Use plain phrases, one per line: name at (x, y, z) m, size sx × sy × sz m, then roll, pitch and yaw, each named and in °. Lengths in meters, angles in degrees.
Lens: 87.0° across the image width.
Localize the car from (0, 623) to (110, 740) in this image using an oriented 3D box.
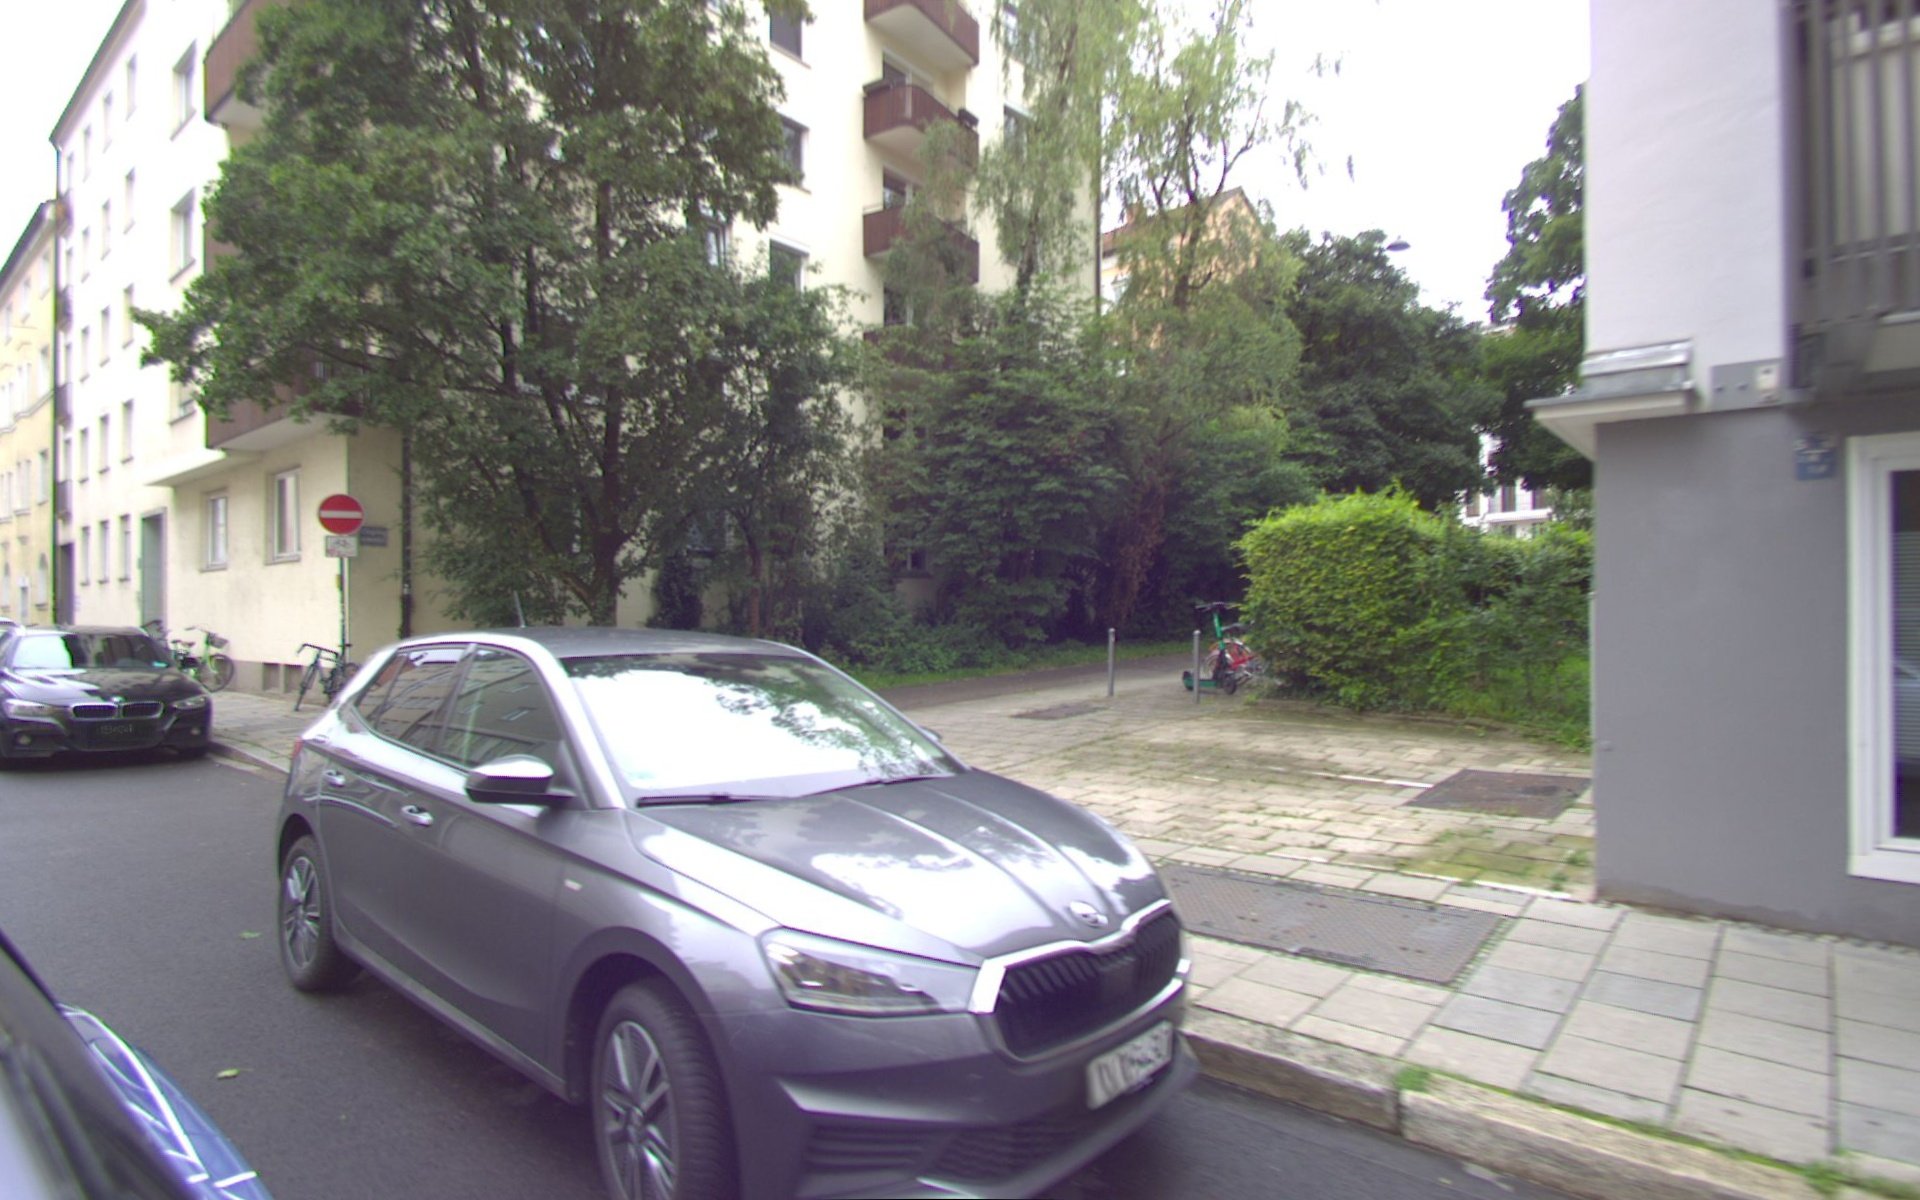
car at (-13.950, 1.090, 14.762) m, size 4.422 × 1.494 × 1.747 m, roll -1°, pitch -2°, yaw 42°

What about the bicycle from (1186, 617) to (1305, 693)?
bicycle at (4.073, 0.777, 14.510) m, size 1.606 × 1.047 × 0.419 m, roll -2°, pitch -2°, yaw 40°

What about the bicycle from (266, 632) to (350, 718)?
bicycle at (-9.578, 1.066, 14.836) m, size 1.788 × 1.170 × 0.529 m, roll -1°, pitch -3°, yaw 41°

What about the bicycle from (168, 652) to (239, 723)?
bicycle at (-13.673, 1.550, 18.283) m, size 1.788 × 1.170 × 0.638 m, roll -1°, pitch -3°, yaw 41°

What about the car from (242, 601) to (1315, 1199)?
car at (-0.995, 0.787, 3.611) m, size 3.940 × 1.453 × 1.675 m, roll -1°, pitch -2°, yaw 41°

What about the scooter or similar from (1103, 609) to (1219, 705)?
scooter or similar at (2.647, 0.747, 13.446) m, size 1.570 × 1.212 × 0.317 m, roll -2°, pitch -2°, yaw 43°

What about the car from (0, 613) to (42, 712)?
car at (-18.164, 1.069, 18.271) m, size 4.364 × 1.688 × 1.748 m, roll -1°, pitch -2°, yaw 40°

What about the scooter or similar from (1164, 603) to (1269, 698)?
scooter or similar at (3.534, 0.689, 14.053) m, size 0.340 × 1.254 × 1.549 m, roll 1°, pitch -2°, yaw -34°

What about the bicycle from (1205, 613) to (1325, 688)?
bicycle at (4.463, 0.734, 14.894) m, size 1.606 × 1.047 × 0.509 m, roll -2°, pitch -2°, yaw 40°

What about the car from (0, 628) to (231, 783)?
car at (-9.903, 1.028, 11.372) m, size 4.381 × 1.419 × 1.836 m, roll -1°, pitch -2°, yaw 41°
